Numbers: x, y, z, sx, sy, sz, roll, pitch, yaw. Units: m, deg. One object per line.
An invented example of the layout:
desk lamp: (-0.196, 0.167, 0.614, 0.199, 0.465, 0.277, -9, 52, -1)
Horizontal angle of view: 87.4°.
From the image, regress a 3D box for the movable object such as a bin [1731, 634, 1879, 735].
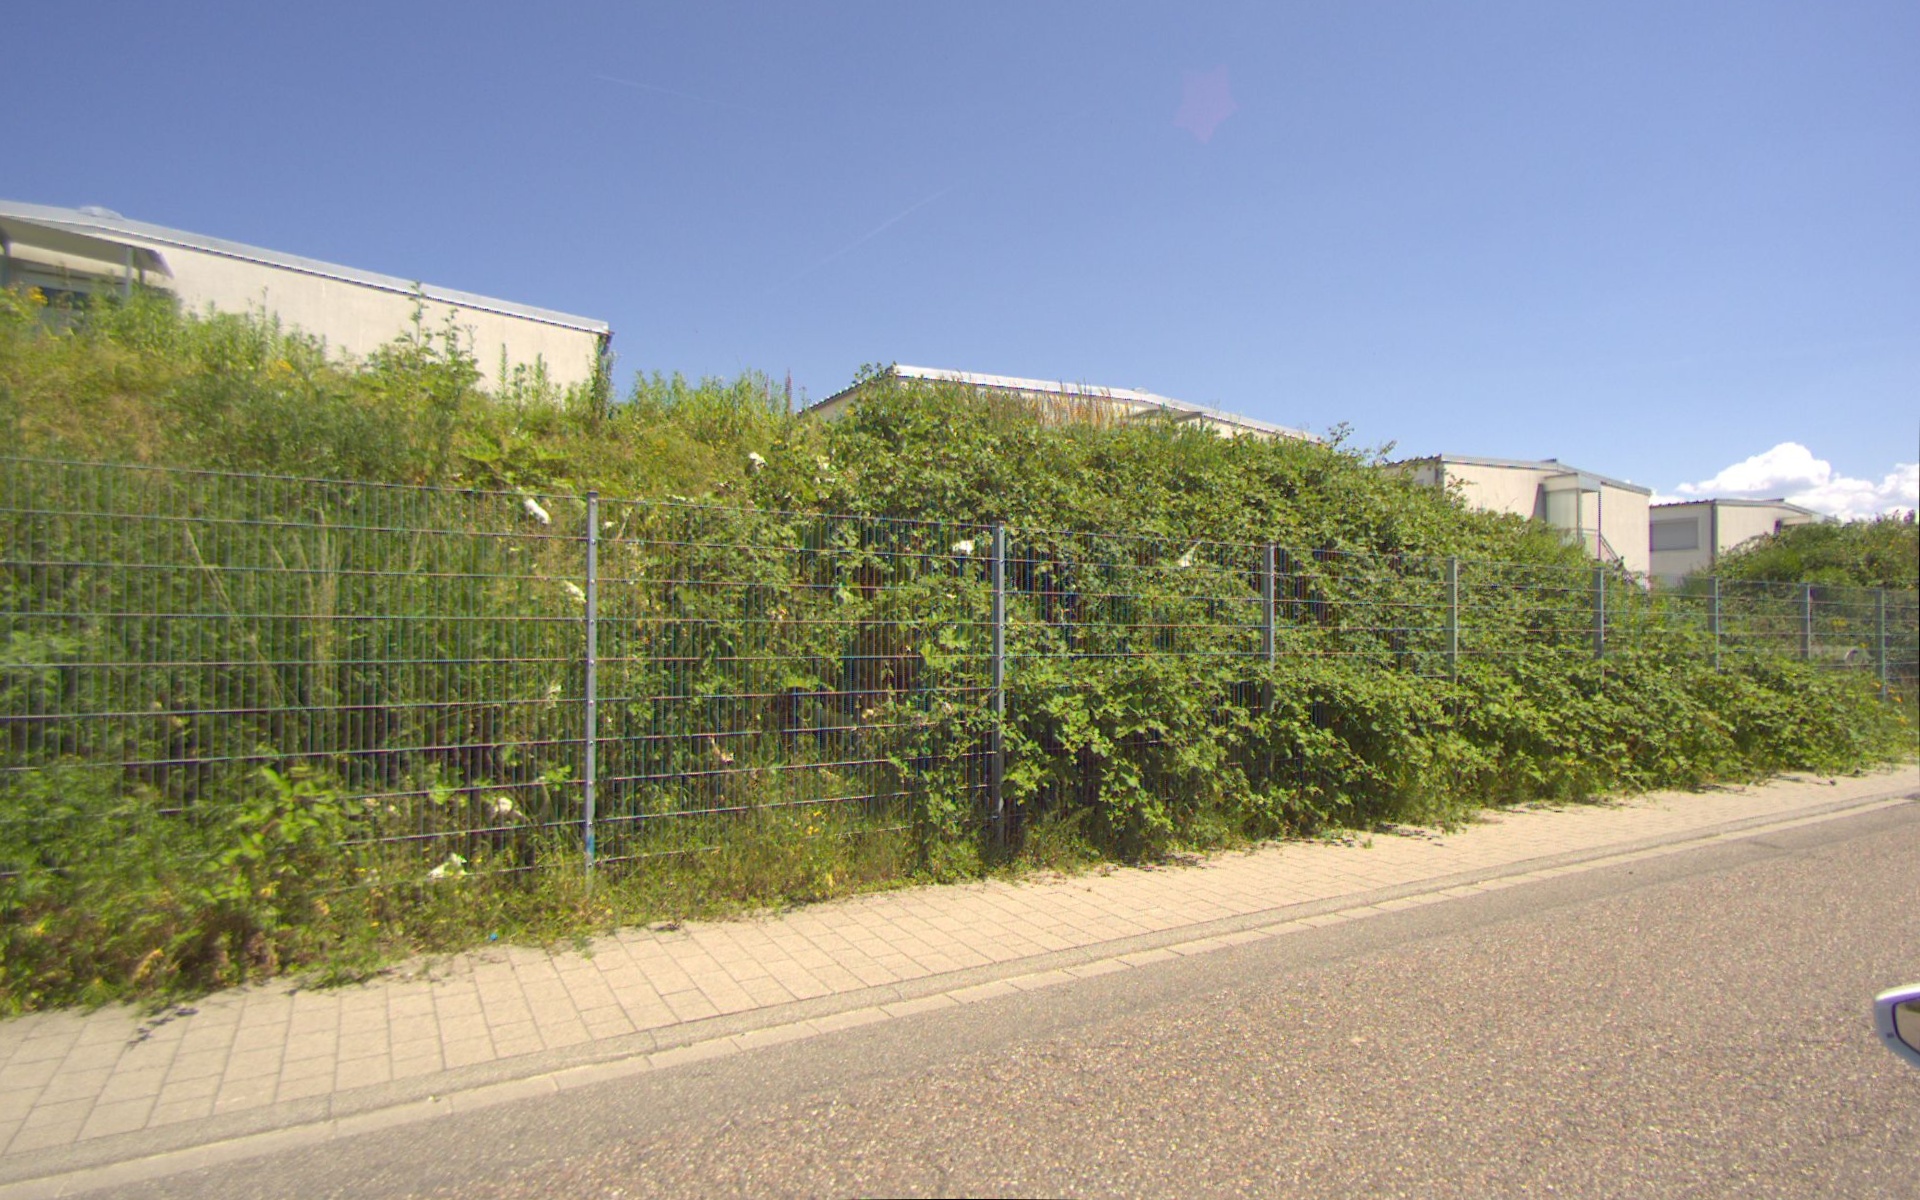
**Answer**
movable object such as a bin: (13.549, 1.315, 16.117, 1.817, 1.496, 1.297, 2, -1, -30)
